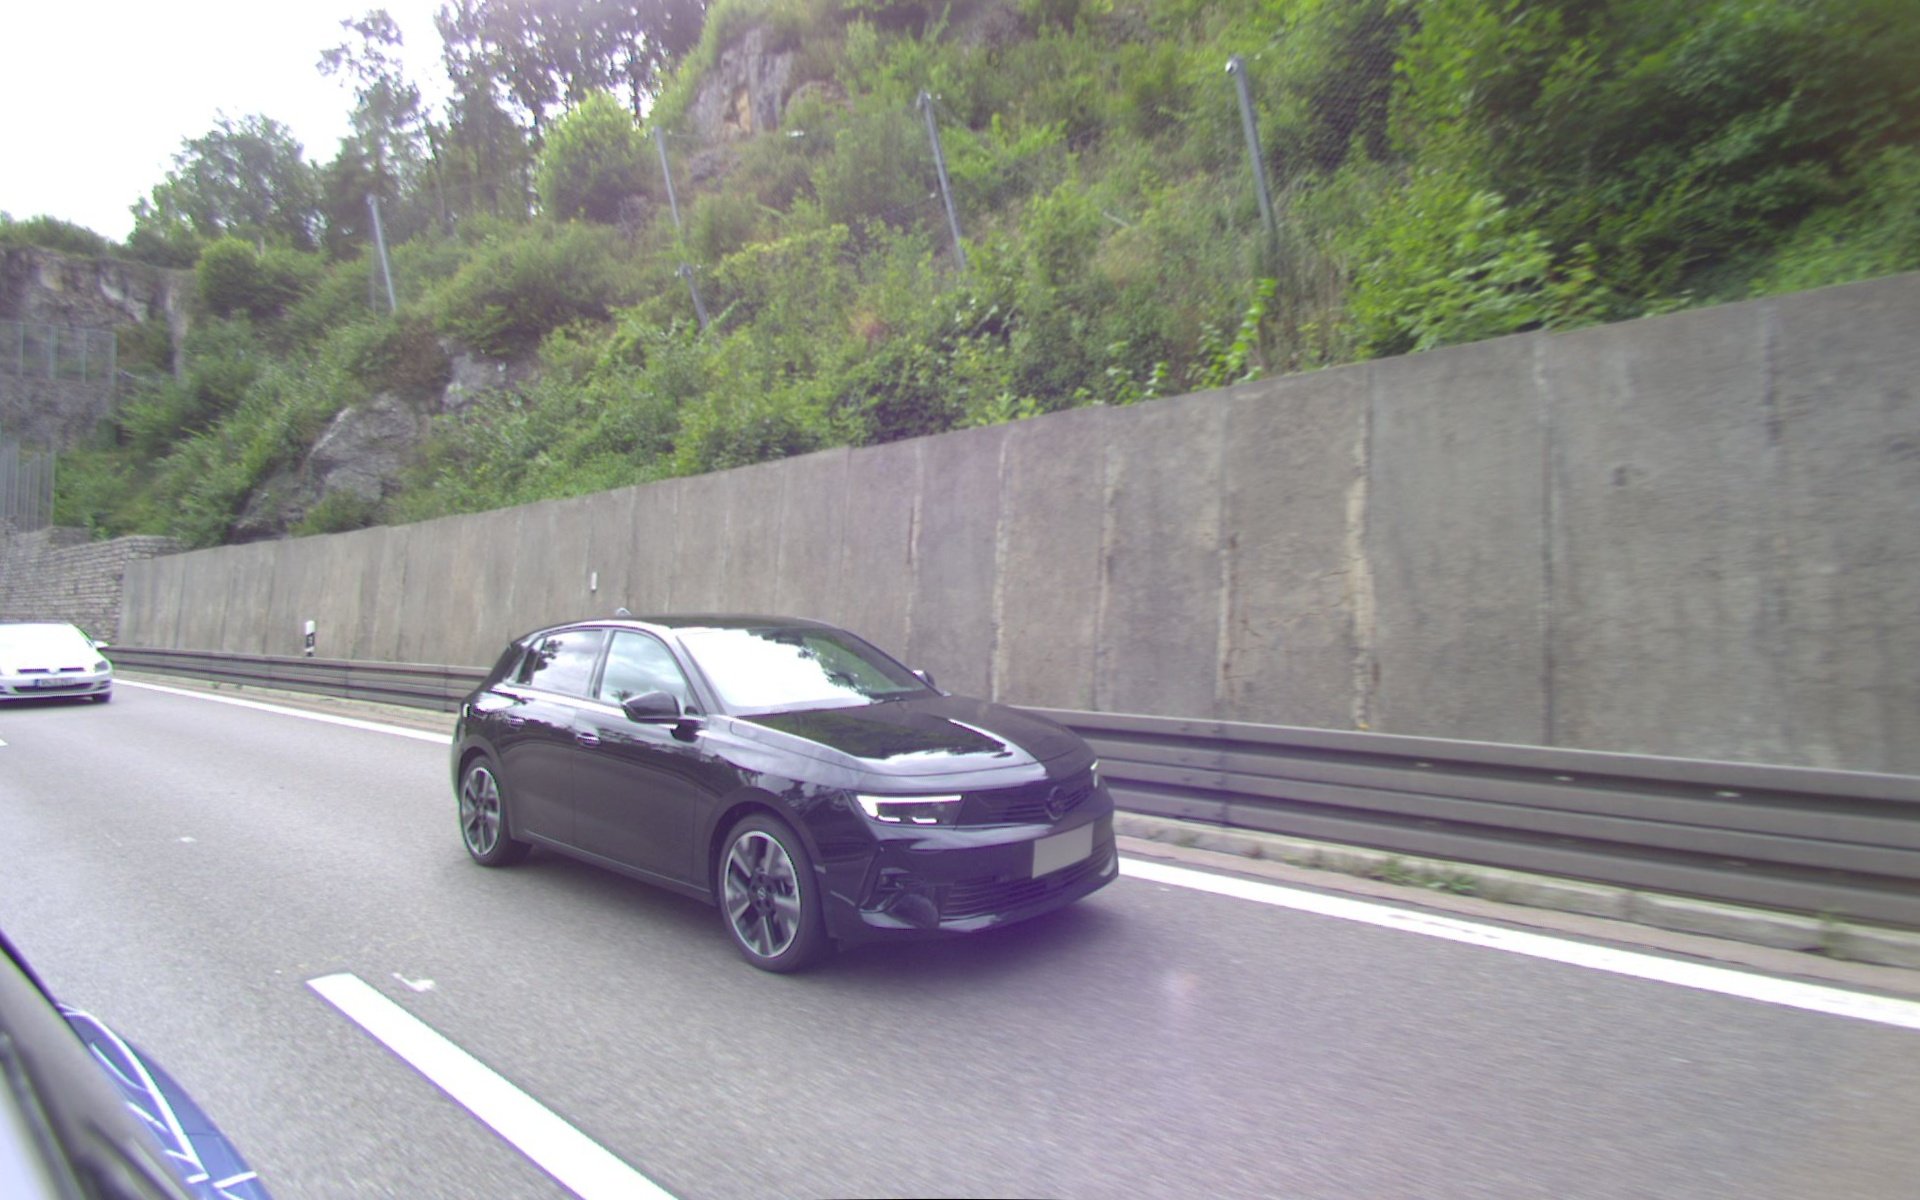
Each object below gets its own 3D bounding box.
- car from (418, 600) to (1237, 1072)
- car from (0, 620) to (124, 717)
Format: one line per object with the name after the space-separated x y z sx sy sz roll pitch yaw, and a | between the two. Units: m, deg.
-1.058 0.778 5.386 4.580 1.472 1.754 -1 0 42 | car
-16.693 1.133 18.136 4.624 1.493 1.826 -1 -1 40 | car
